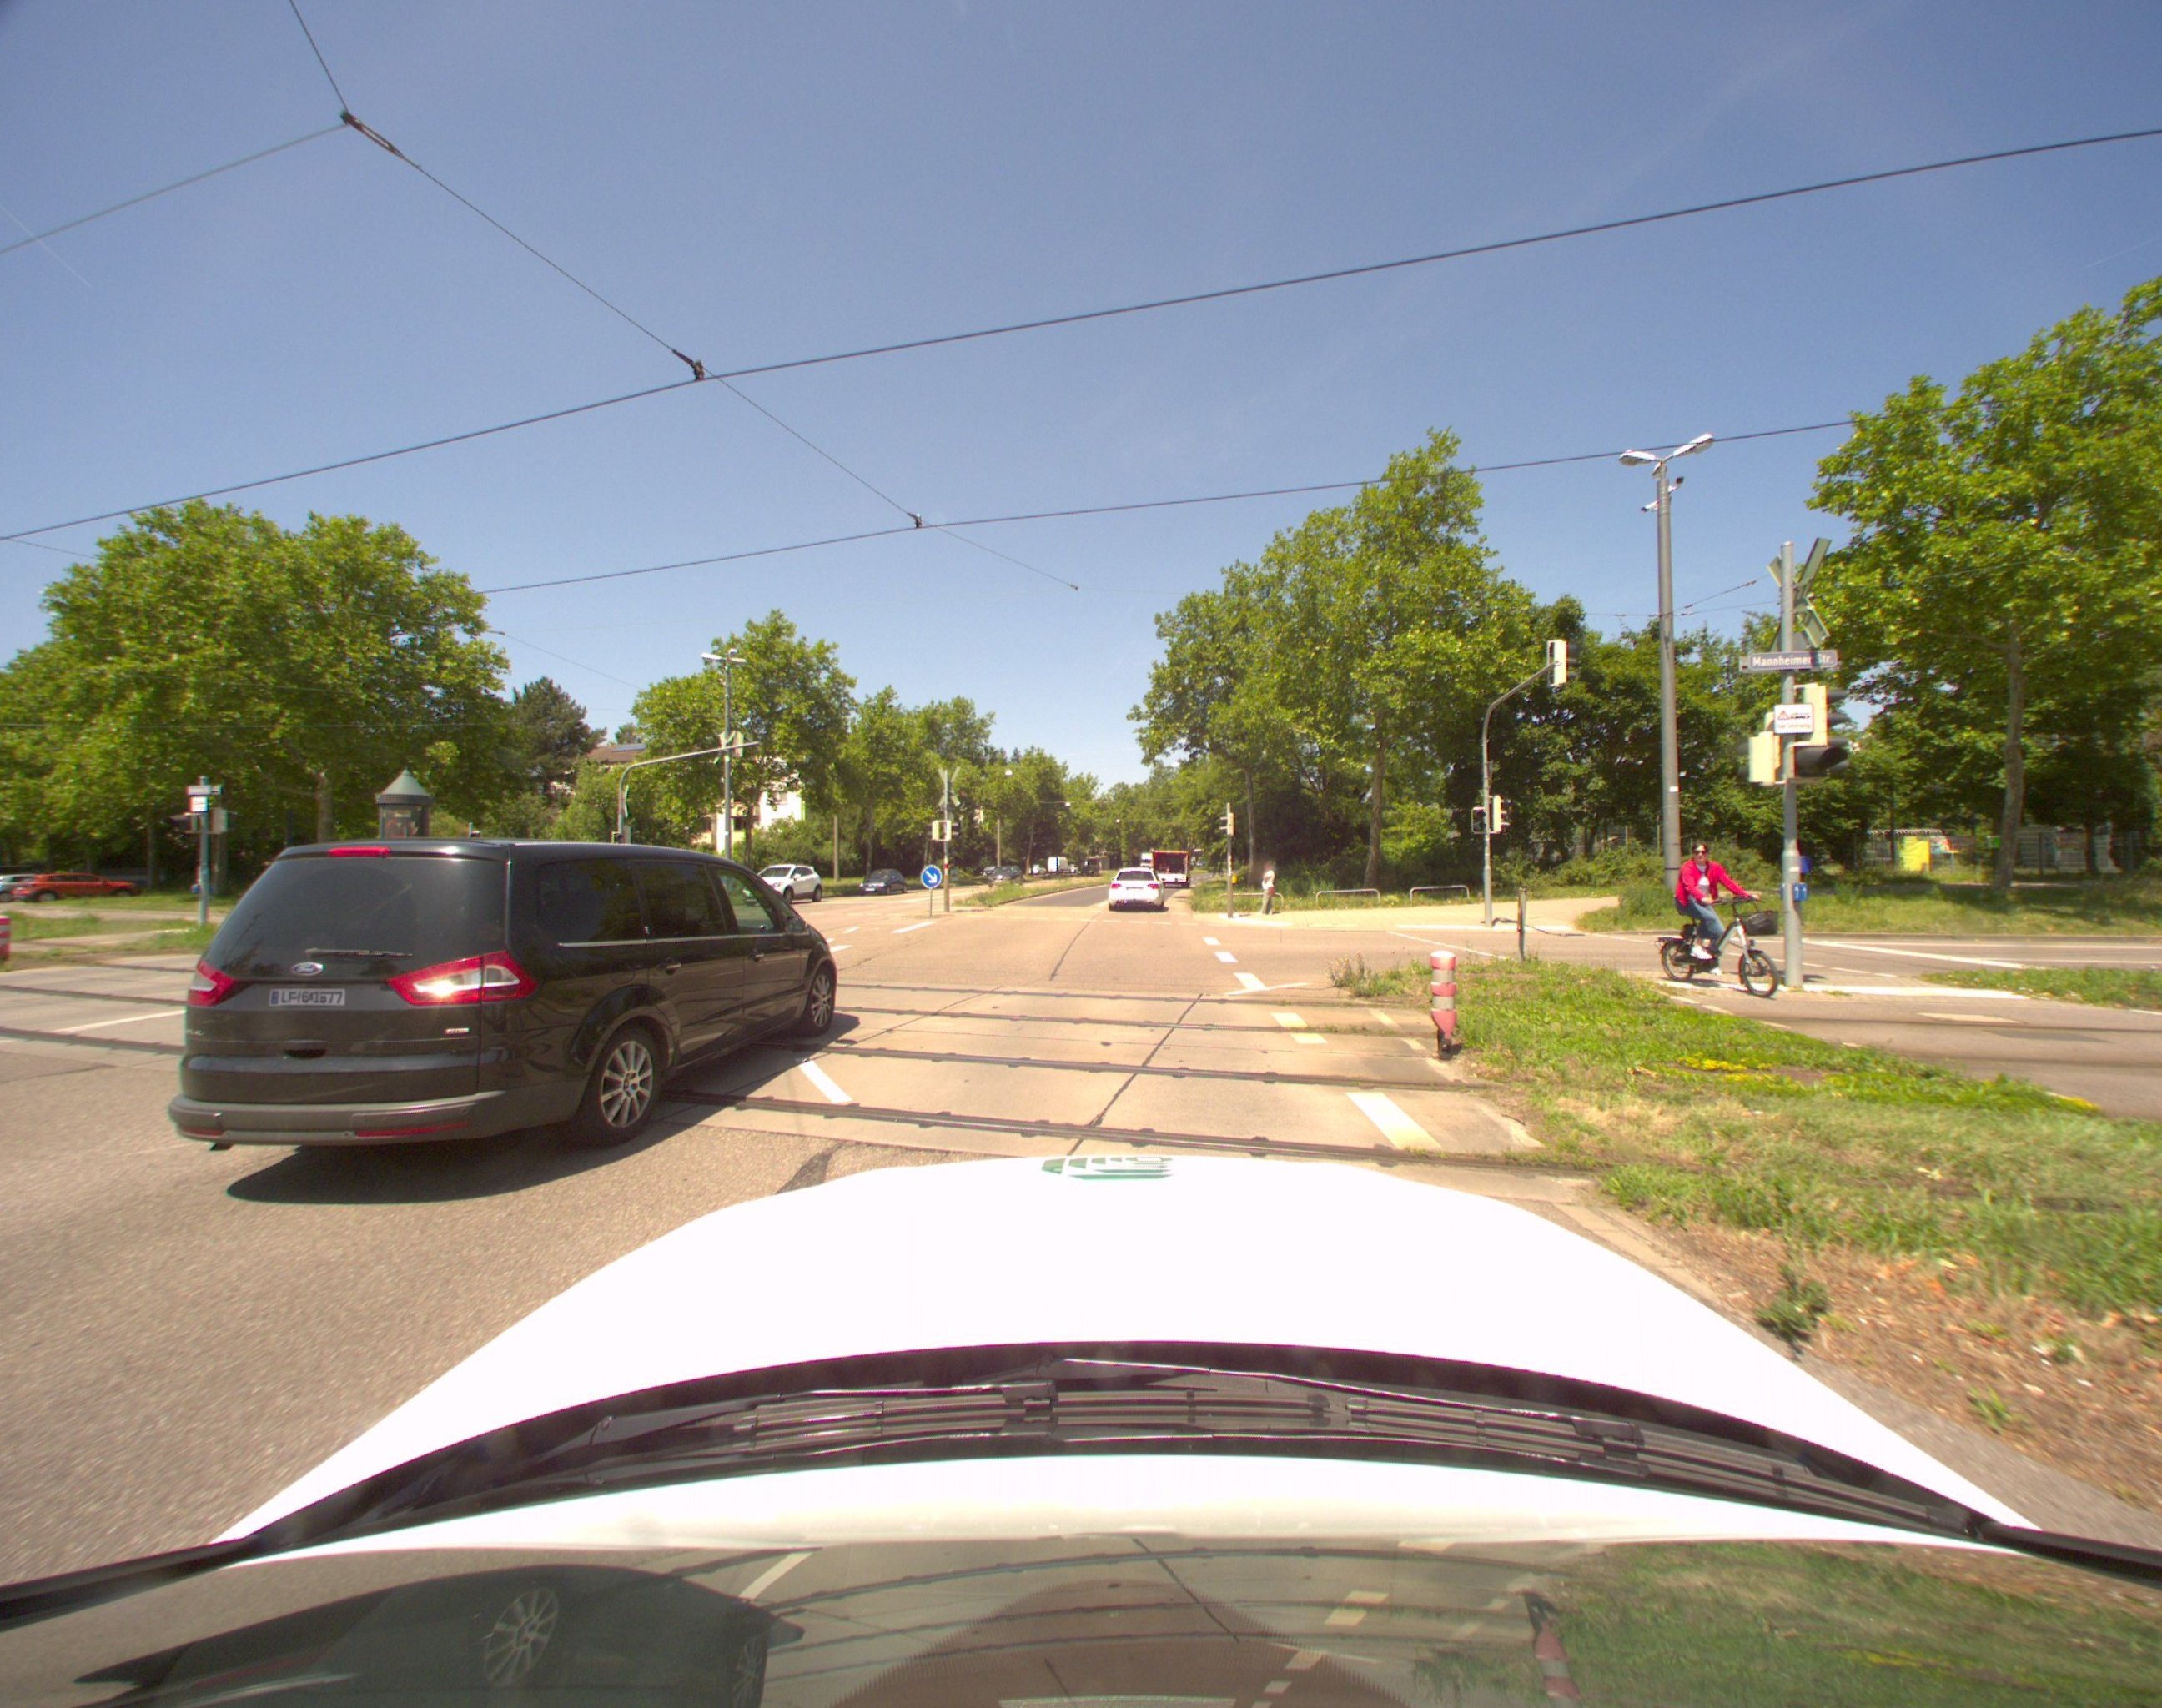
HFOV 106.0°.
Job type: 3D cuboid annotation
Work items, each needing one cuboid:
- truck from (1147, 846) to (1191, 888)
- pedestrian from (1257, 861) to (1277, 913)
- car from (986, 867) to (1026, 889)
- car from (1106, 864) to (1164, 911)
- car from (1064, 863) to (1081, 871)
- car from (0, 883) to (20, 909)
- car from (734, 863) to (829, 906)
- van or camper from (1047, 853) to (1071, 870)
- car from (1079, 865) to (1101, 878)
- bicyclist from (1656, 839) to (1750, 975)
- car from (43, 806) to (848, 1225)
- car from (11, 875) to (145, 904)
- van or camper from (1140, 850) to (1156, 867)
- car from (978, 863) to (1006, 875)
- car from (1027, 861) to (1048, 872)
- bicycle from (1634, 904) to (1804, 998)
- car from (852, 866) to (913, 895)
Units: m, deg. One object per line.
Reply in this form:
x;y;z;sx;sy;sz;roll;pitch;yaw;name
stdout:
6.019;0.804;54.665;2.496;2.559;7.622;1;0;9;truck
5.507;0.967;24.085;0.549;1.484;0.632;0;0;13;pedestrian
-5.167;1.657;56.712;1.725;1.395;4.190;-2;-1;10;car
1.895;1.069;27.469;1.753;1.445;3.622;-1;0;7;car
-1.407;2.187;133.902;1.680;1.284;3.818;0;0;16;car
-60.213;2.294;43.817;1.481;1.397;3.570;-1;0;24;car
-12.278;1.227;33.733;1.777;1.615;4.415;0;0;9;car
-3.364;1.229;127.826;2.165;2.587;5.332;-1;0;17;van or camper
1.091;2.144;100.299;1.800;1.507;4.608;-1;0;12;car
7.370;0.605;9.675;0.575;1.556;0.673;-1;-1;0;bicyclist
-3.396;0.692;5.792;1.846;1.755;4.653;0;0;4;car
-52.213;1.820;42.503;1.441;1.397;4.160;1;-1;24;car
13.746;0.907;165.891;2.643;3.331;5.517;0;0;11;van or camper
-11.318;1.918;103.768;1.865;1.393;4.022;0;0;23;car
-6.371;1.833;118.873;1.867;1.474;4.017;0;0;16;car
7.379;1.082;9.538;0.585;0.896;1.811;-1;0;1;bicycle
-10.649;1.414;44.025;1.709;1.455;3.881;-1;0;11;car
